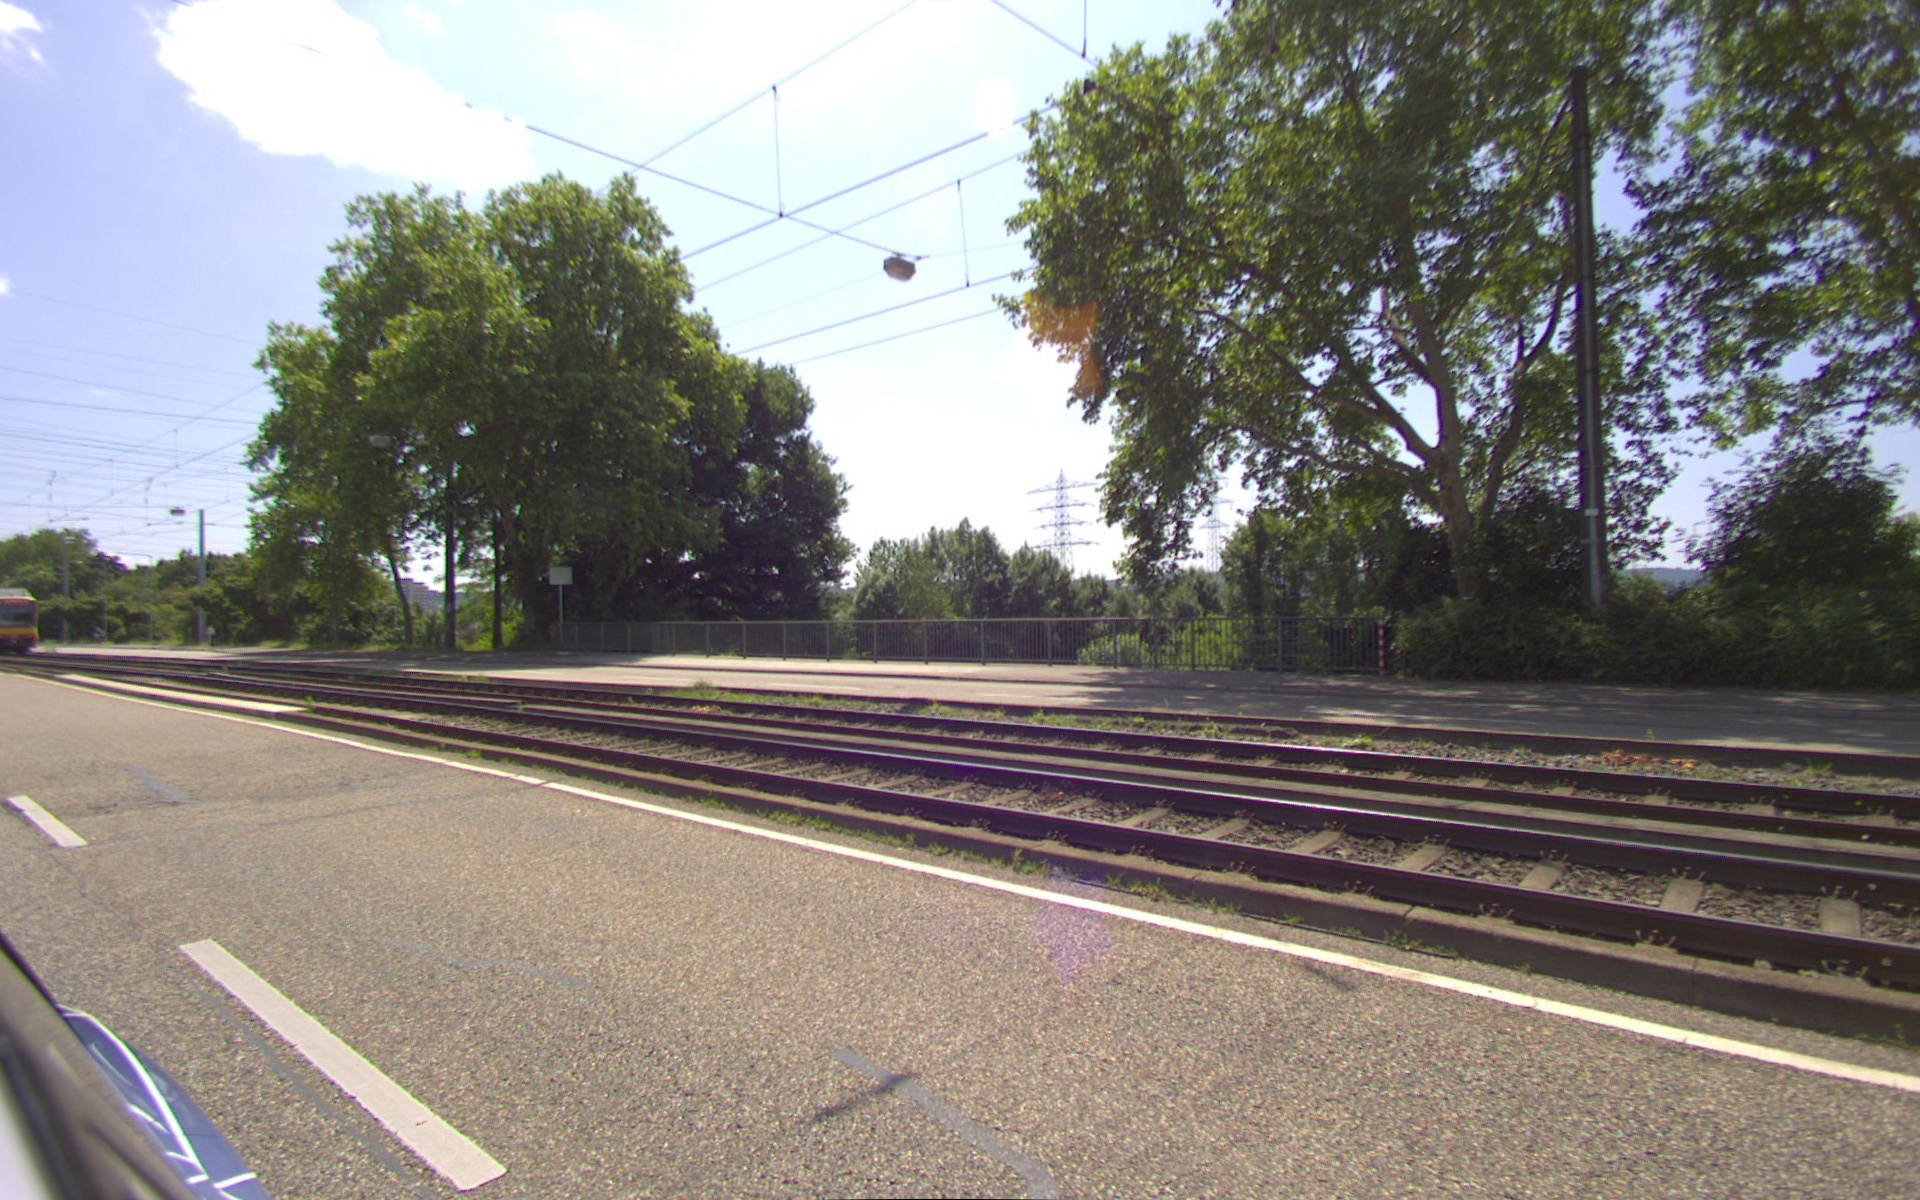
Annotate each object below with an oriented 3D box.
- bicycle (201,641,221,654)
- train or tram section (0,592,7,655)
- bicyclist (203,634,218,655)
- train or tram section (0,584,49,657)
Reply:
[{"bbox_3d":[-54.742,3.476,73.948,2.181,0.924,0.703,-2,-1,40],"label":"bicycle"},{"bbox_3d":[-68.906,1.692,69.976,10.221,4.180,3.008,-2,-2,39],"label":"train or tram section"},{"bbox_3d":[-54.812,3.245,73.989,0.918,1.495,0.704,-2,-1,40],"label":"bicyclist"},{"bbox_3d":[-60.107,1.365,62.863,13.964,4.172,3.008,-2,-2,39],"label":"train or tram section"}]
